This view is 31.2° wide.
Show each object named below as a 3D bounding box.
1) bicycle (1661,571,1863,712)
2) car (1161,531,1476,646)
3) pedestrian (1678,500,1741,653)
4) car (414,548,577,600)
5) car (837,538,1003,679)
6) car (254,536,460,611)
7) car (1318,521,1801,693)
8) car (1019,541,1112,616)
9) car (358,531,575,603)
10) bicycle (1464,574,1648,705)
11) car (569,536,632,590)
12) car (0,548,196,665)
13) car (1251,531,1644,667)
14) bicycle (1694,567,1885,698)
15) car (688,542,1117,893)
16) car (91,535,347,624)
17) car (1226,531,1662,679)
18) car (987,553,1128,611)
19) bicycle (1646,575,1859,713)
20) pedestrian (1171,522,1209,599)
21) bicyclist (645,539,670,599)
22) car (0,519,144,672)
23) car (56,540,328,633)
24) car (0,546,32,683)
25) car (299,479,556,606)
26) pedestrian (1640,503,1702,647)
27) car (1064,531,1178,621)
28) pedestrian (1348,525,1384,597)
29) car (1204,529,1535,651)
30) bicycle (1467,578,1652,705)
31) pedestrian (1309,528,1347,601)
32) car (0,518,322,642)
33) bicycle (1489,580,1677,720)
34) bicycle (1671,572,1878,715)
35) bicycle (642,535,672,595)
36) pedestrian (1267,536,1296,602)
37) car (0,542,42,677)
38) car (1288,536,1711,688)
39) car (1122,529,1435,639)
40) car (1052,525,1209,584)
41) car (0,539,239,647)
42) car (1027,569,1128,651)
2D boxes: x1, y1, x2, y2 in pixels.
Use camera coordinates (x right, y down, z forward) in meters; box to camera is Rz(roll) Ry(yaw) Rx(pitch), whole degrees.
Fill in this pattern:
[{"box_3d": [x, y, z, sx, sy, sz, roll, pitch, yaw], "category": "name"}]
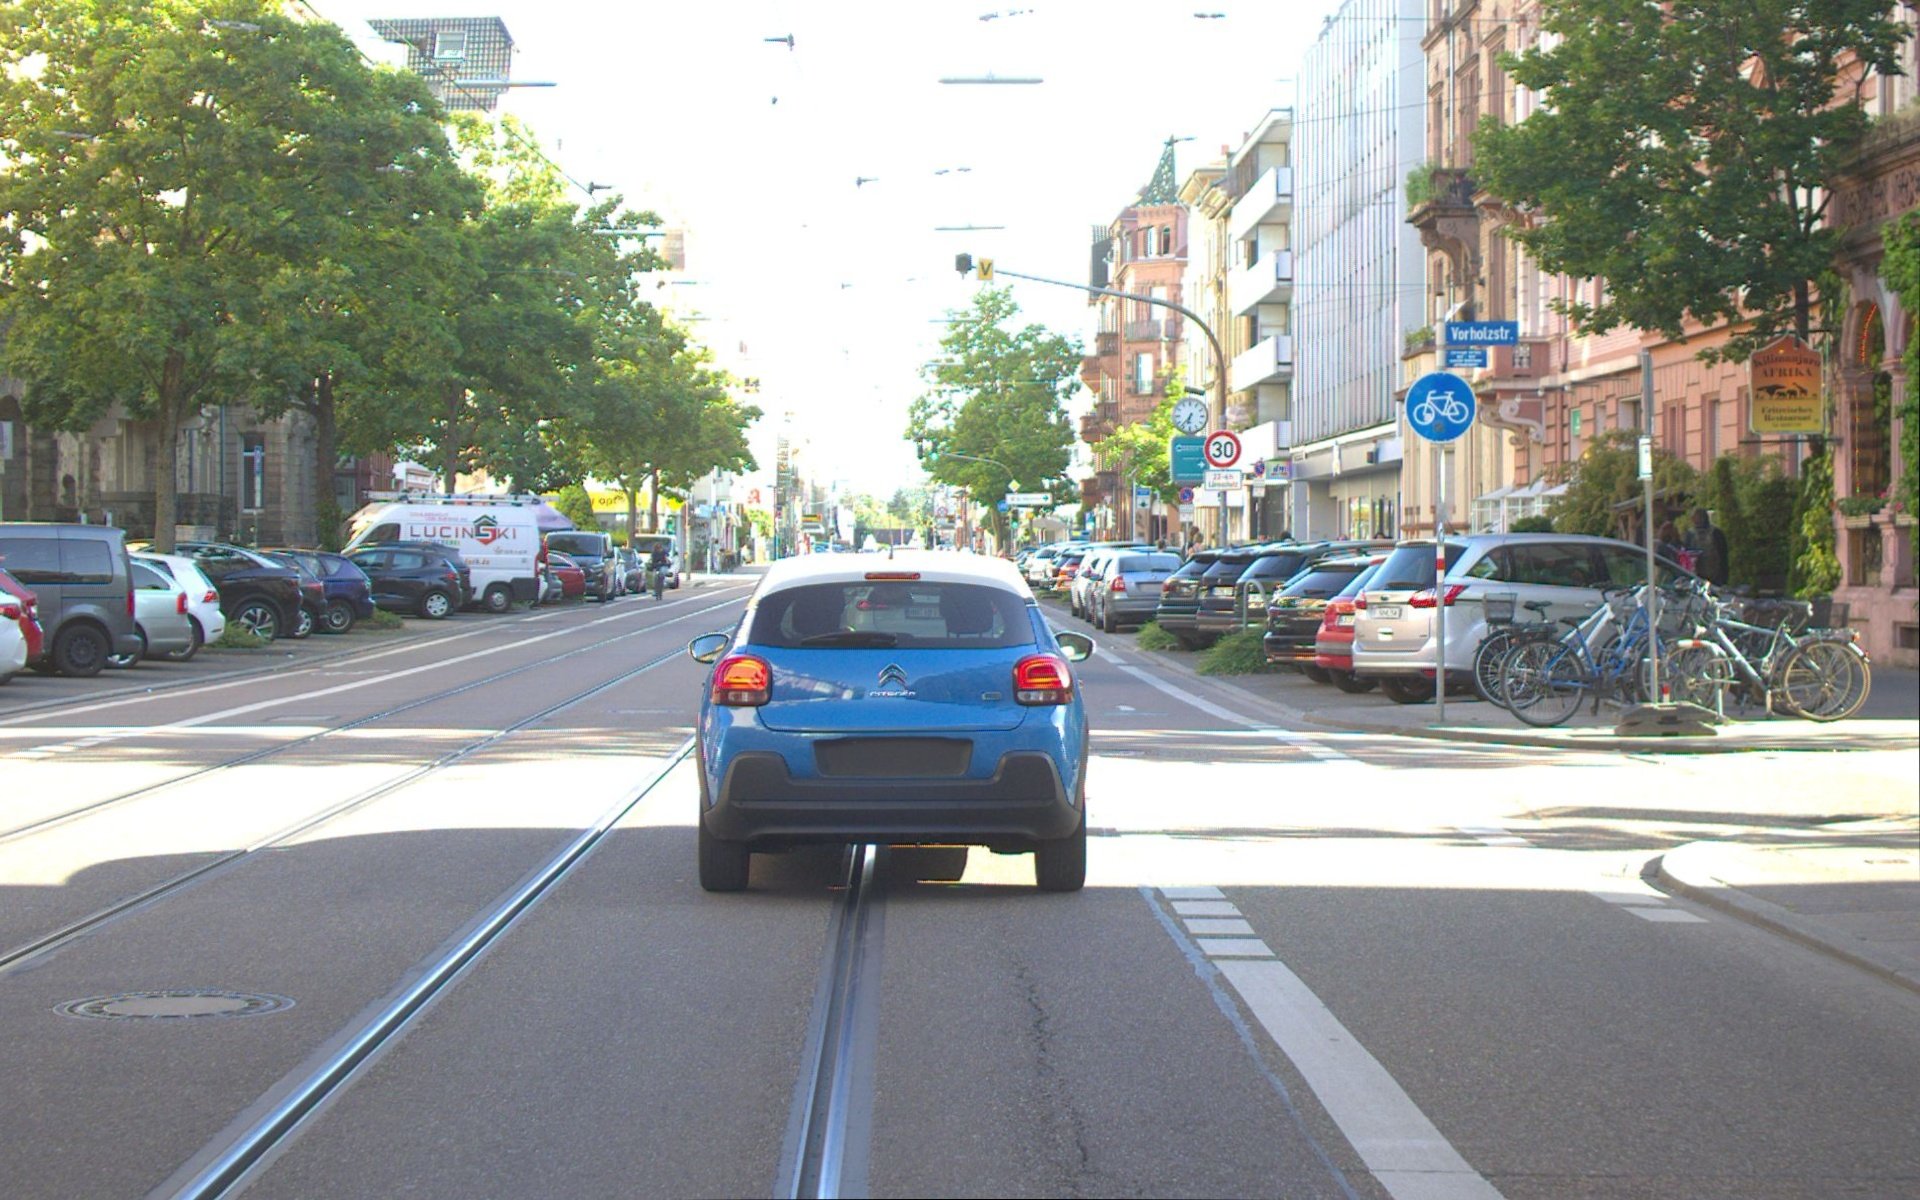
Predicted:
[{"box_3d": [6.612, 0.335, 28.389, 1.556, 1.123, 0.528, 1, 0, 6], "category": "bicycle"}, {"box_3d": [5.146, -0.166, 49.400, 3.986, 1.590, 2.088, 0, 1, -25], "category": "car"}, {"box_3d": [8.803, -0.282, 40.379, 0.518, 1.772, 0.864, 1, 0, 0], "category": "pedestrian"}, {"box_3d": [-11.732, -0.649, 86.881, 3.796, 1.261, 1.516, 0, 1, -26], "category": "car"}, {"box_3d": [-0.472, 0.075, 41.185, 1.873, 1.590, 4.000, 1, 1, 0], "category": "car"}, {"box_3d": [-12.501, -0.546, 71.224, 3.986, 1.484, 1.807, 1, 1, -17], "category": "car"}, {"box_3d": [5.862, 0.067, 33.605, 4.350, 1.590, 1.854, 0, 1, -25], "category": "car"}, {"box_3d": [2.289, -0.484, 75.558, 1.873, 1.590, 4.000, 1, 1, 0], "category": "car"}, {"box_3d": [-11.619, -0.771, 81.025, 4.755, 1.612, 1.712, 0, 1, -33], "category": "car"}, {"box_3d": [5.240, 0.344, 30.251, 1.560, 1.123, 0.294, 1, 0, 6], "category": "bicycle"}, {"box_3d": [-11.146, -1.161, 106.816, 1.747, 1.612, 4.411, 1, 1, -4], "category": "car"}, {"box_3d": [-11.863, 0.068, 43.348, 4.006, 1.444, 1.699, 0, 1, -33], "category": "car"}, {"box_3d": [5.951, -0.012, 42.015, 4.317, 1.590, 2.046, 0, 1, -25], "category": "car"}, {"box_3d": [7.292, 0.280, 30.275, 1.556, 1.123, 0.551, 1, 0, 6], "category": "bicycle"}, {"box_3d": [-0.270, 0.469, 16.063, 1.762, 1.436, 3.557, 1, 1, -1], "category": "car"}, {"box_3d": [-12.857, -0.357, 59.658, 3.986, 1.484, 1.806, 0, 1, -28], "category": "car"}, {"box_3d": [5.473, 0.056, 38.871, 4.433, 1.590, 2.089, 0, 1, -25], "category": "car"}, {"box_3d": [2.695, -0.485, 94.965, 3.441, 1.550, 1.824, 0, 1, -32], "category": "car"}, {"box_3d": [6.669, 0.363, 28.969, 1.675, 1.123, 0.551, 1, 0, 6], "category": "bicycle"}, {"box_3d": [4.850, -0.832, 72.509, 0.712, 1.601, 0.654, 1, 0, -1], "category": "pedestrian"}, {"box_3d": [-8.605, -0.877, 97.745, 0.634, 1.675, 0.727, 1, 0, 0], "category": "bicyclist"}, {"box_3d": [-11.769, -0.072, 40.547, 3.810, 1.778, 1.797, 0, 1, -29], "category": "car"}, {"box_3d": [-12.668, -0.224, 56.734, 3.987, 1.484, 1.806, 0, 1, -33], "category": "car"}, {"box_3d": [-11.571, 0.122, 34.891, 3.779, 1.395, 1.755, 0, 1, -33], "category": "car"}, {"box_3d": [-11.890, -1.271, 76.918, 5.370, 2.739, 1.806, 0, 1, -30], "category": "car"}, {"box_3d": [8.269, -0.293, 39.989, 0.518, 1.643, 0.864, 1, 0, 0], "category": "pedestrian"}, {"box_3d": [2.972, -0.461, 64.262, 1.873, 1.590, 4.719, 1, 1, 0], "category": "car"}, {"box_3d": [9.161, -0.880, 77.580, 0.712, 1.601, 0.654, 1, 0, -1], "category": "pedestrian"}, {"box_3d": [5.546, -0.128, 46.579, 3.986, 1.590, 1.960, 0, 1, -25], "category": "car"}, {"box_3d": [5.211, 0.360, 29.929, 1.556, 1.075, 0.307, 1, 0, 6], "category": "bicycle"}, {"box_3d": [8.297, -0.800, 77.484, 0.712, 1.601, 0.654, -2, 1, -1], "category": "pedestrian"}, {"box_3d": [-11.941, -0.293, 51.220, 4.353, 1.777, 1.996, 0, 1, -33], "category": "car"}, {"box_3d": [5.098, 0.410, 28.142, 1.397, 1.123, 0.551, 1, 0, -13], "category": "bicycle"}, {"box_3d": [6.580, 0.345, 27.820, 1.556, 1.123, 0.551, 1, 0, 6], "category": "bicycle"}, {"box_3d": [-8.605, -1.001, 97.634, 0.680, 1.673, 2.097, 1, 1, -1], "category": "bicycle"}, {"box_3d": [8.538, -0.822, 91.290, 0.692, 1.750, 0.678, 1, 0, -1], "category": "pedestrian"}, {"box_3d": [-11.975, 0.105, 37.566, 3.459, 1.468, 1.649, -1, 2, -29], "category": "car"}, {"box_3d": [5.679, 0.118, 36.176, 3.986, 1.531, 1.919, 0, 1, -25], "category": "car"}, {"box_3d": [4.835, -0.240, 52.207, 4.302, 1.590, 1.983, 0, 1, -25], "category": "car"}, {"box_3d": [4.576, -1.213, 92.187, 3.718, 1.515, 1.968, 0, 1, -33], "category": "car"}, {"box_3d": [-11.942, -0.099, 46.823, 3.831, 1.425, 1.766, 0, 1, -26], "category": "car"}, {"box_3d": [2.379, 0.175, 70.367, 1.873, 1.590, 4.000, 1, 1, 0], "category": "car"}]
